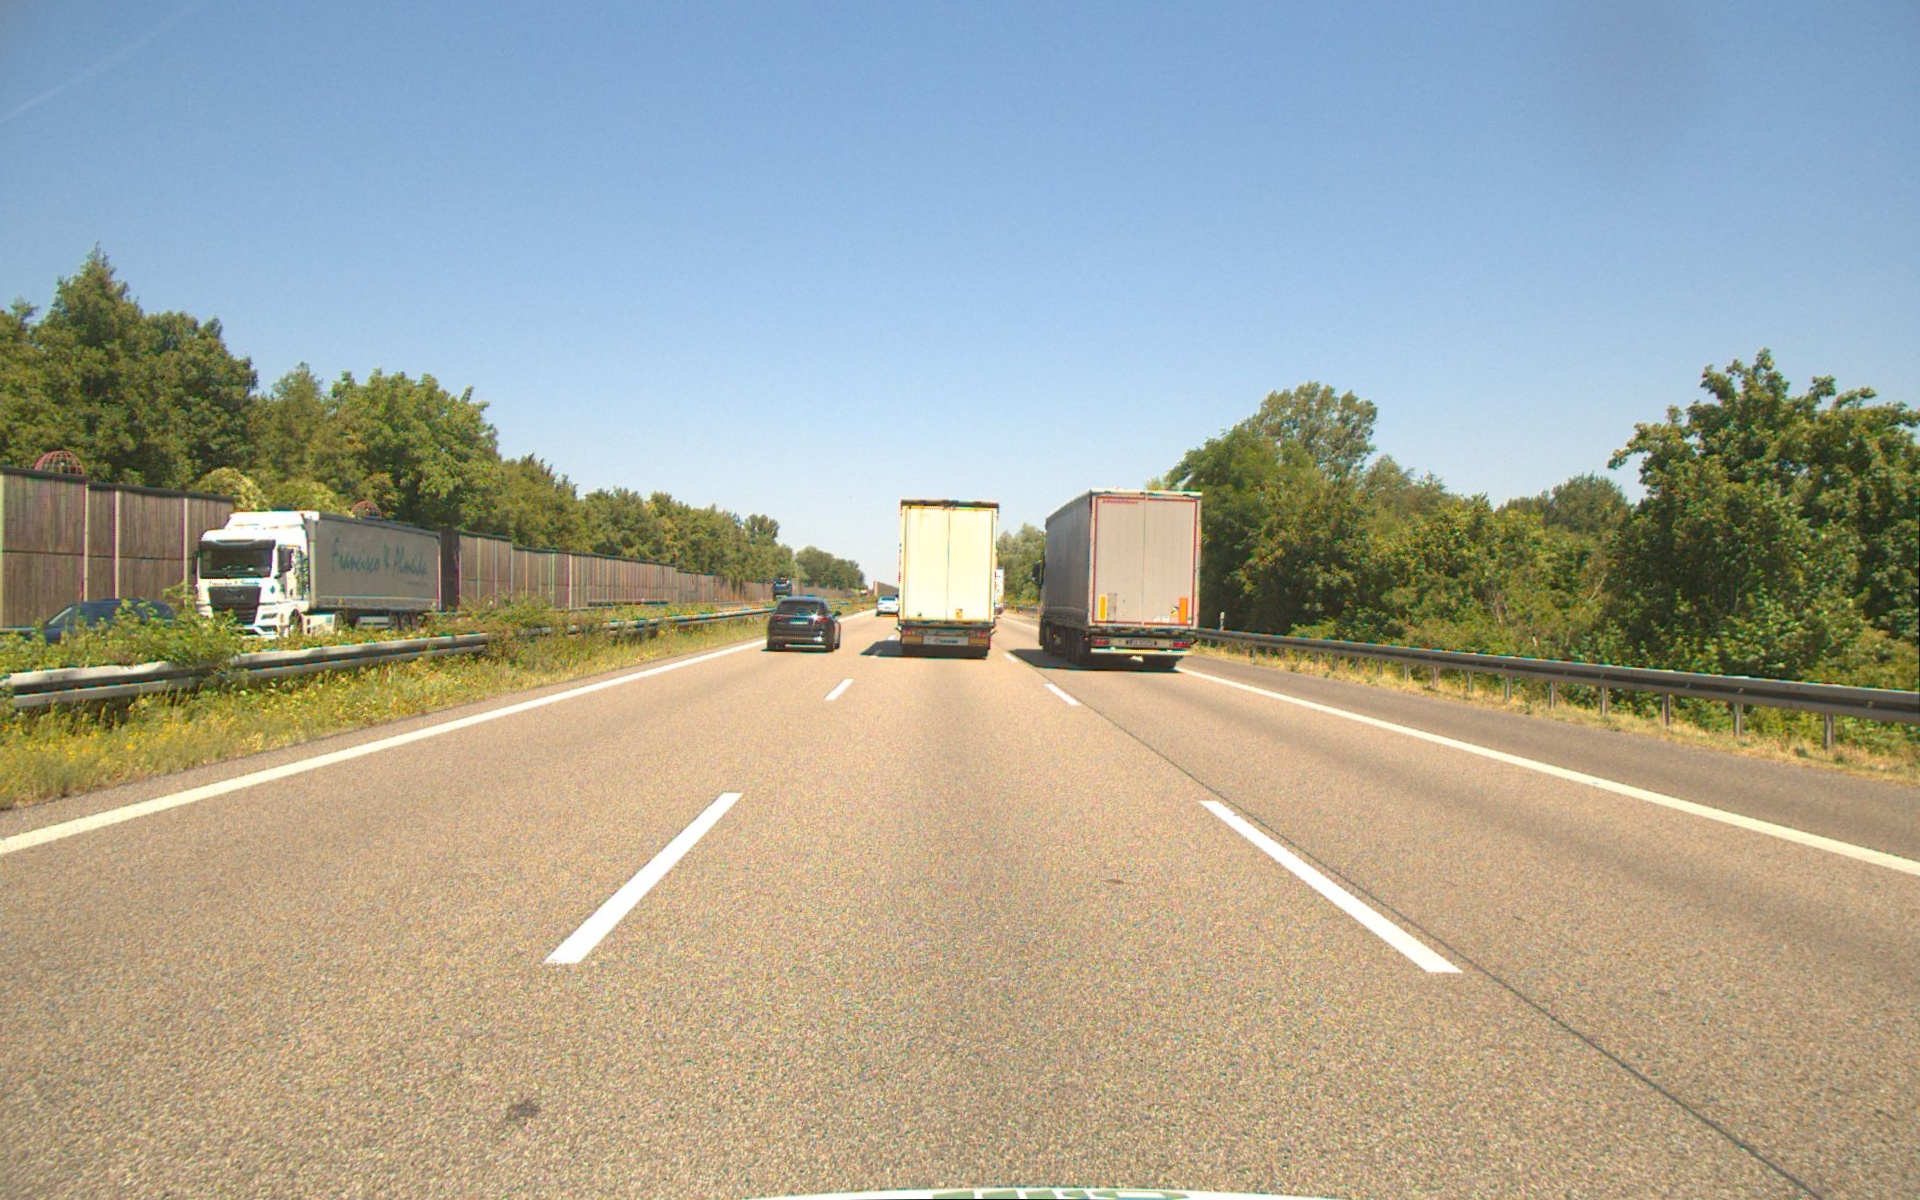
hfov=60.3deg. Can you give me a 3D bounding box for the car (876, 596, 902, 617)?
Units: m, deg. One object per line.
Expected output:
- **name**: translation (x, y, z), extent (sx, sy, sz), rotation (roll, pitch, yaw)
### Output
- **car**: translation (-5.286, 0.483, 123.680), extent (1.818, 1.512, 3.999), rotation (-1, 0, -2)

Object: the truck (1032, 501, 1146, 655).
- **truck**: translation (3.783, -0.625, 50.249), extent (2.637, 4.289, 7.835), rotation (0, 0, -2)

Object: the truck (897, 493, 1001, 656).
- **truck**: translation (-0.467, -0.661, 48.970), extent (2.652, 4.157, 13.469), rotation (0, 0, -2)

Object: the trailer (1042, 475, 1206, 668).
- **trailer**: translation (3.972, -0.637, 43.336), extent (2.649, 4.289, 13.207), rotation (0, 0, -2)

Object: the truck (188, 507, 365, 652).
- **truck**: translation (-21.329, -0.603, 52.076), extent (2.776, 4.256, 7.140), rotation (0, 0, -2)

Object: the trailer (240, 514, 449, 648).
- **trailer**: translation (-21.549, -0.602, 59.047), extent (2.851, 4.256, 13.307), rotation (0, 0, -2)

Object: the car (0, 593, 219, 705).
- **car**: translation (-17.058, 0.905, 33.447), extent (1.953, 2.049, 4.894), rotation (2, 0, -1)

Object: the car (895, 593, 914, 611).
- **car**: translation (-5.407, 0.178, 162.495), extent (1.818, 1.645, 3.999), rotation (-1, 0, -2)

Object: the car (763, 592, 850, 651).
- **car**: translation (-4.282, 0.555, 46.985), extent (1.904, 1.533, 5.821), rotation (-1, 0, 0)

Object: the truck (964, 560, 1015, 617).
- **truck**: translation (2.374, -0.924, 136.685), extent (3.307, 4.378, 11.443), rotation (2, 0, -3)
